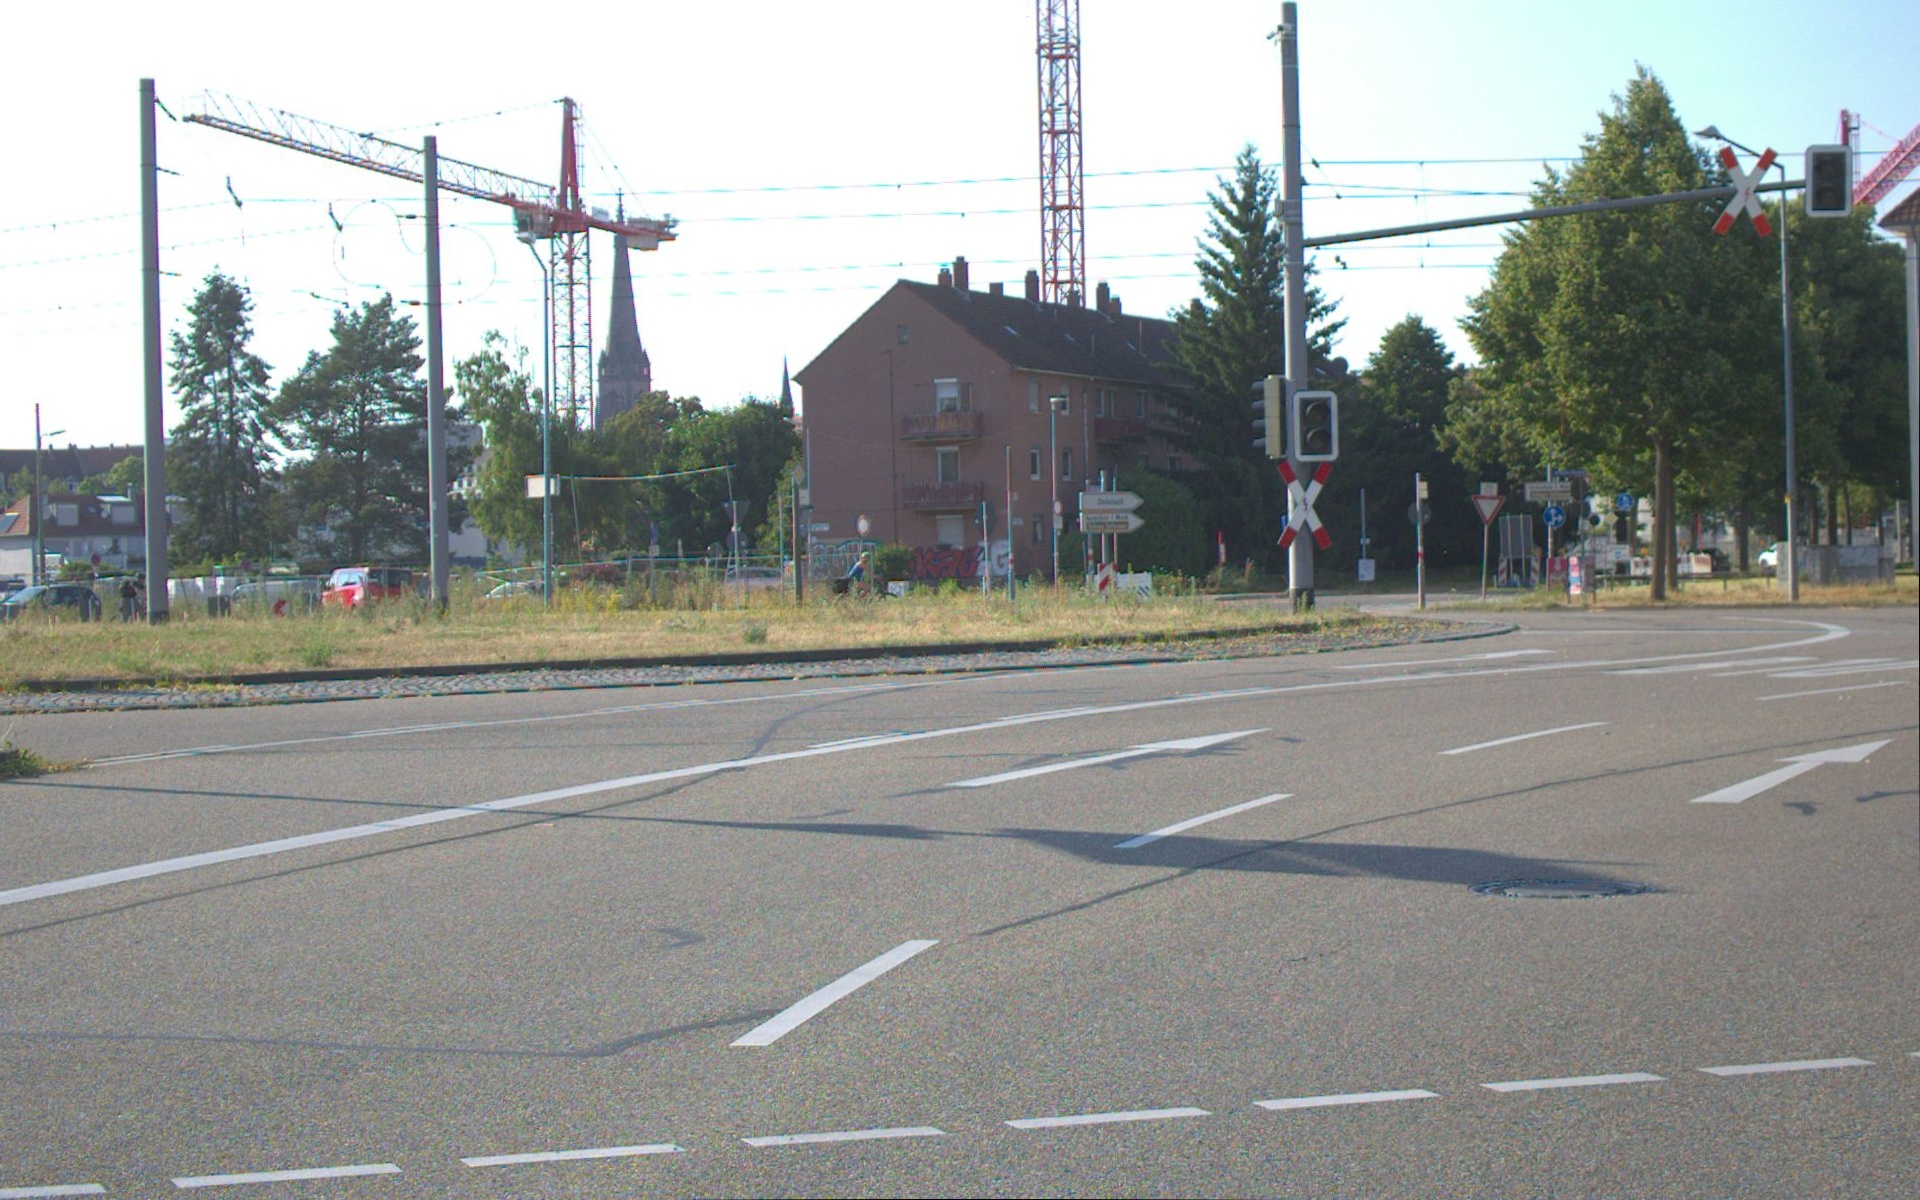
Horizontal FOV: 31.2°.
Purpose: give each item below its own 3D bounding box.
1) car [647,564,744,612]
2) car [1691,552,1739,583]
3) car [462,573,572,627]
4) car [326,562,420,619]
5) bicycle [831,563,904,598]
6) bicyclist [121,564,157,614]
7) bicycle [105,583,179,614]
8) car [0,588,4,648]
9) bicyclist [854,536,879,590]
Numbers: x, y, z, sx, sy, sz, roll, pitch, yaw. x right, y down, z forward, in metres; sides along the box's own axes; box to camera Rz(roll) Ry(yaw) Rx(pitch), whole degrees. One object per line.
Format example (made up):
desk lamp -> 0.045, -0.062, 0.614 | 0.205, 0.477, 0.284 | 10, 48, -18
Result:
car -> -11.466, -0.504, 149.111 | 3.812, 2.007, 1.670 | -1, 0, 19
car -> 33.926, -1.474, 154.391 | 1.457, 1.295, 3.544 | -1, 1, 23
car -> -17.091, -0.003, 132.577 | 3.812, 2.007, 1.670 | -1, 0, 19
car -> -19.893, -0.324, 116.437 | 1.919, 1.847, 4.000 | -2, 1, -28
bicycle -> -2.590, -0.543, 95.809 | 1.987, 0.915, 0.430 | -1, 1, -6
bicyclist -> -23.210, -0.317, 97.218 | 0.897, 1.391, 0.526 | -1, 1, -5
bicycle -> -23.138, -0.052, 97.274 | 1.987, 0.822, 0.430 | -1, 1, -6
car -> -31.143, 0.591, 103.732 | 3.987, 1.809, 2.000 | -2, 1, -32
bicyclist -> -2.603, -1.028, 95.804 | 0.622, 1.506, 0.419 | -1, 1, -5
